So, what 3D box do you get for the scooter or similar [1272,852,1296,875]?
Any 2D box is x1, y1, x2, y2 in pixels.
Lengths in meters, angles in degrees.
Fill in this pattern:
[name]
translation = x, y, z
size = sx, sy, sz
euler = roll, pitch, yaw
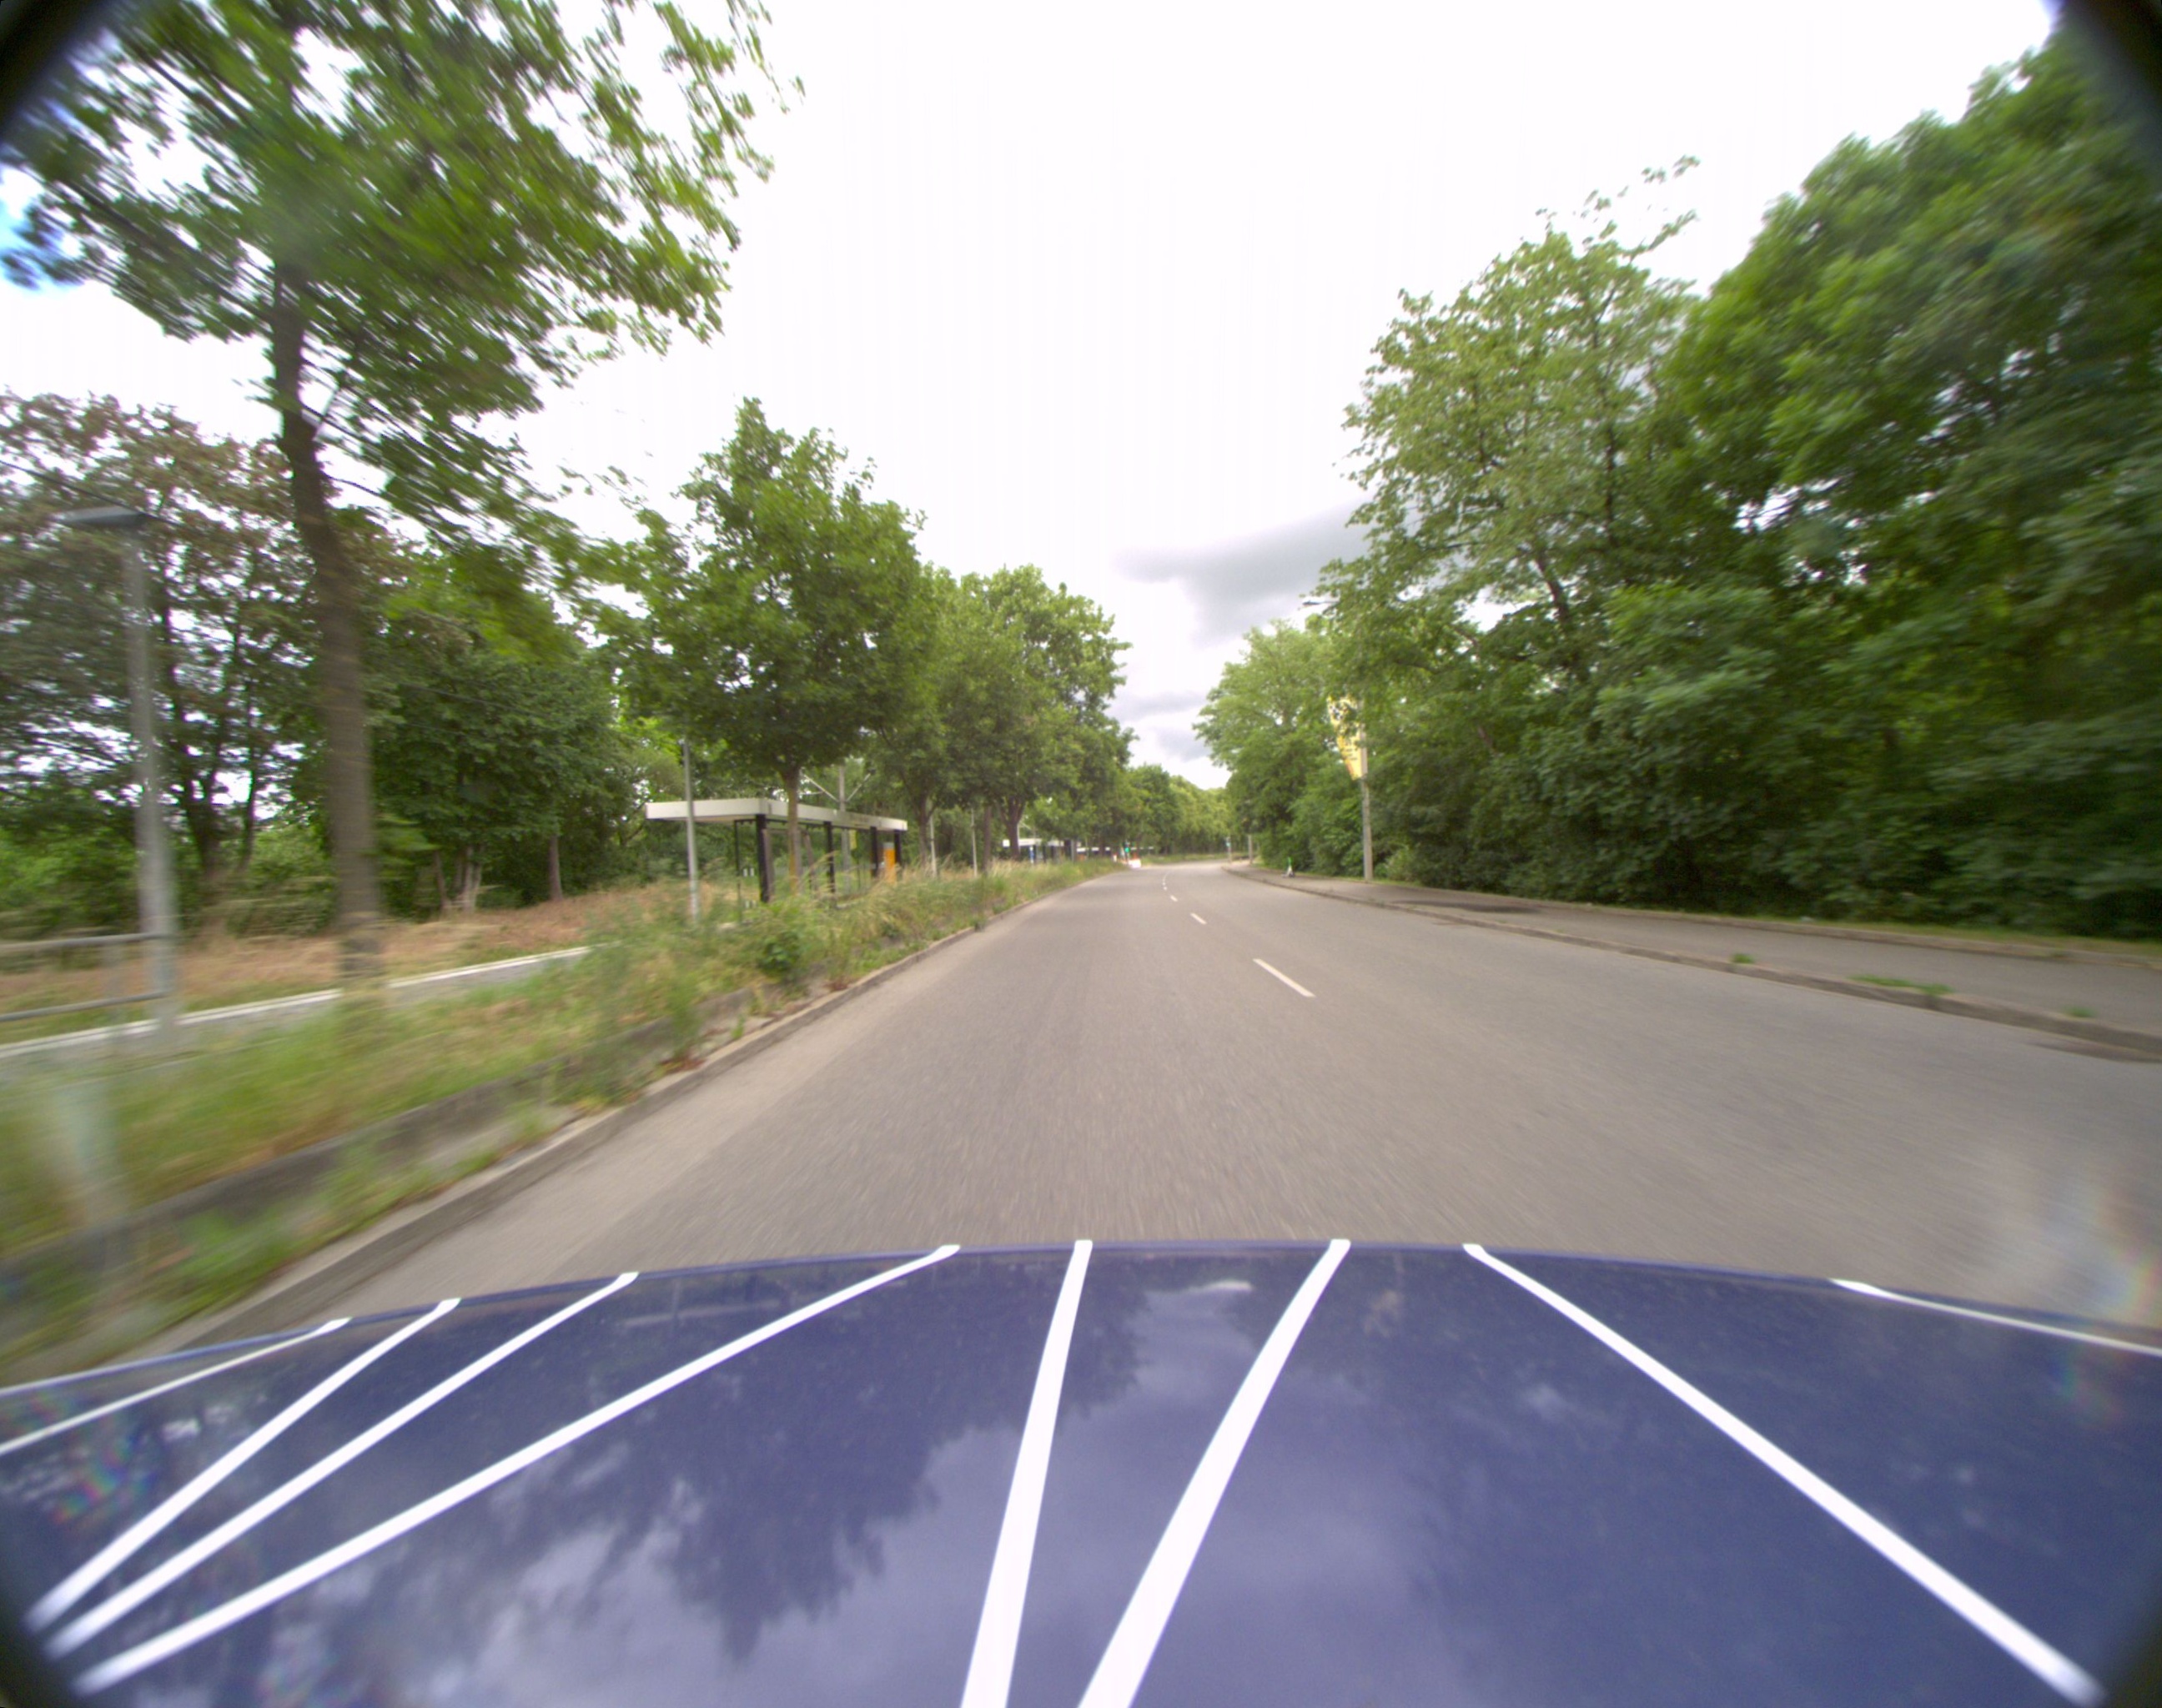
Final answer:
[scooter or similar]
translation = 10.522, 0.501, 39.413
size = 0.366, 1.177, 1.295
euler = -4, 0, -26
